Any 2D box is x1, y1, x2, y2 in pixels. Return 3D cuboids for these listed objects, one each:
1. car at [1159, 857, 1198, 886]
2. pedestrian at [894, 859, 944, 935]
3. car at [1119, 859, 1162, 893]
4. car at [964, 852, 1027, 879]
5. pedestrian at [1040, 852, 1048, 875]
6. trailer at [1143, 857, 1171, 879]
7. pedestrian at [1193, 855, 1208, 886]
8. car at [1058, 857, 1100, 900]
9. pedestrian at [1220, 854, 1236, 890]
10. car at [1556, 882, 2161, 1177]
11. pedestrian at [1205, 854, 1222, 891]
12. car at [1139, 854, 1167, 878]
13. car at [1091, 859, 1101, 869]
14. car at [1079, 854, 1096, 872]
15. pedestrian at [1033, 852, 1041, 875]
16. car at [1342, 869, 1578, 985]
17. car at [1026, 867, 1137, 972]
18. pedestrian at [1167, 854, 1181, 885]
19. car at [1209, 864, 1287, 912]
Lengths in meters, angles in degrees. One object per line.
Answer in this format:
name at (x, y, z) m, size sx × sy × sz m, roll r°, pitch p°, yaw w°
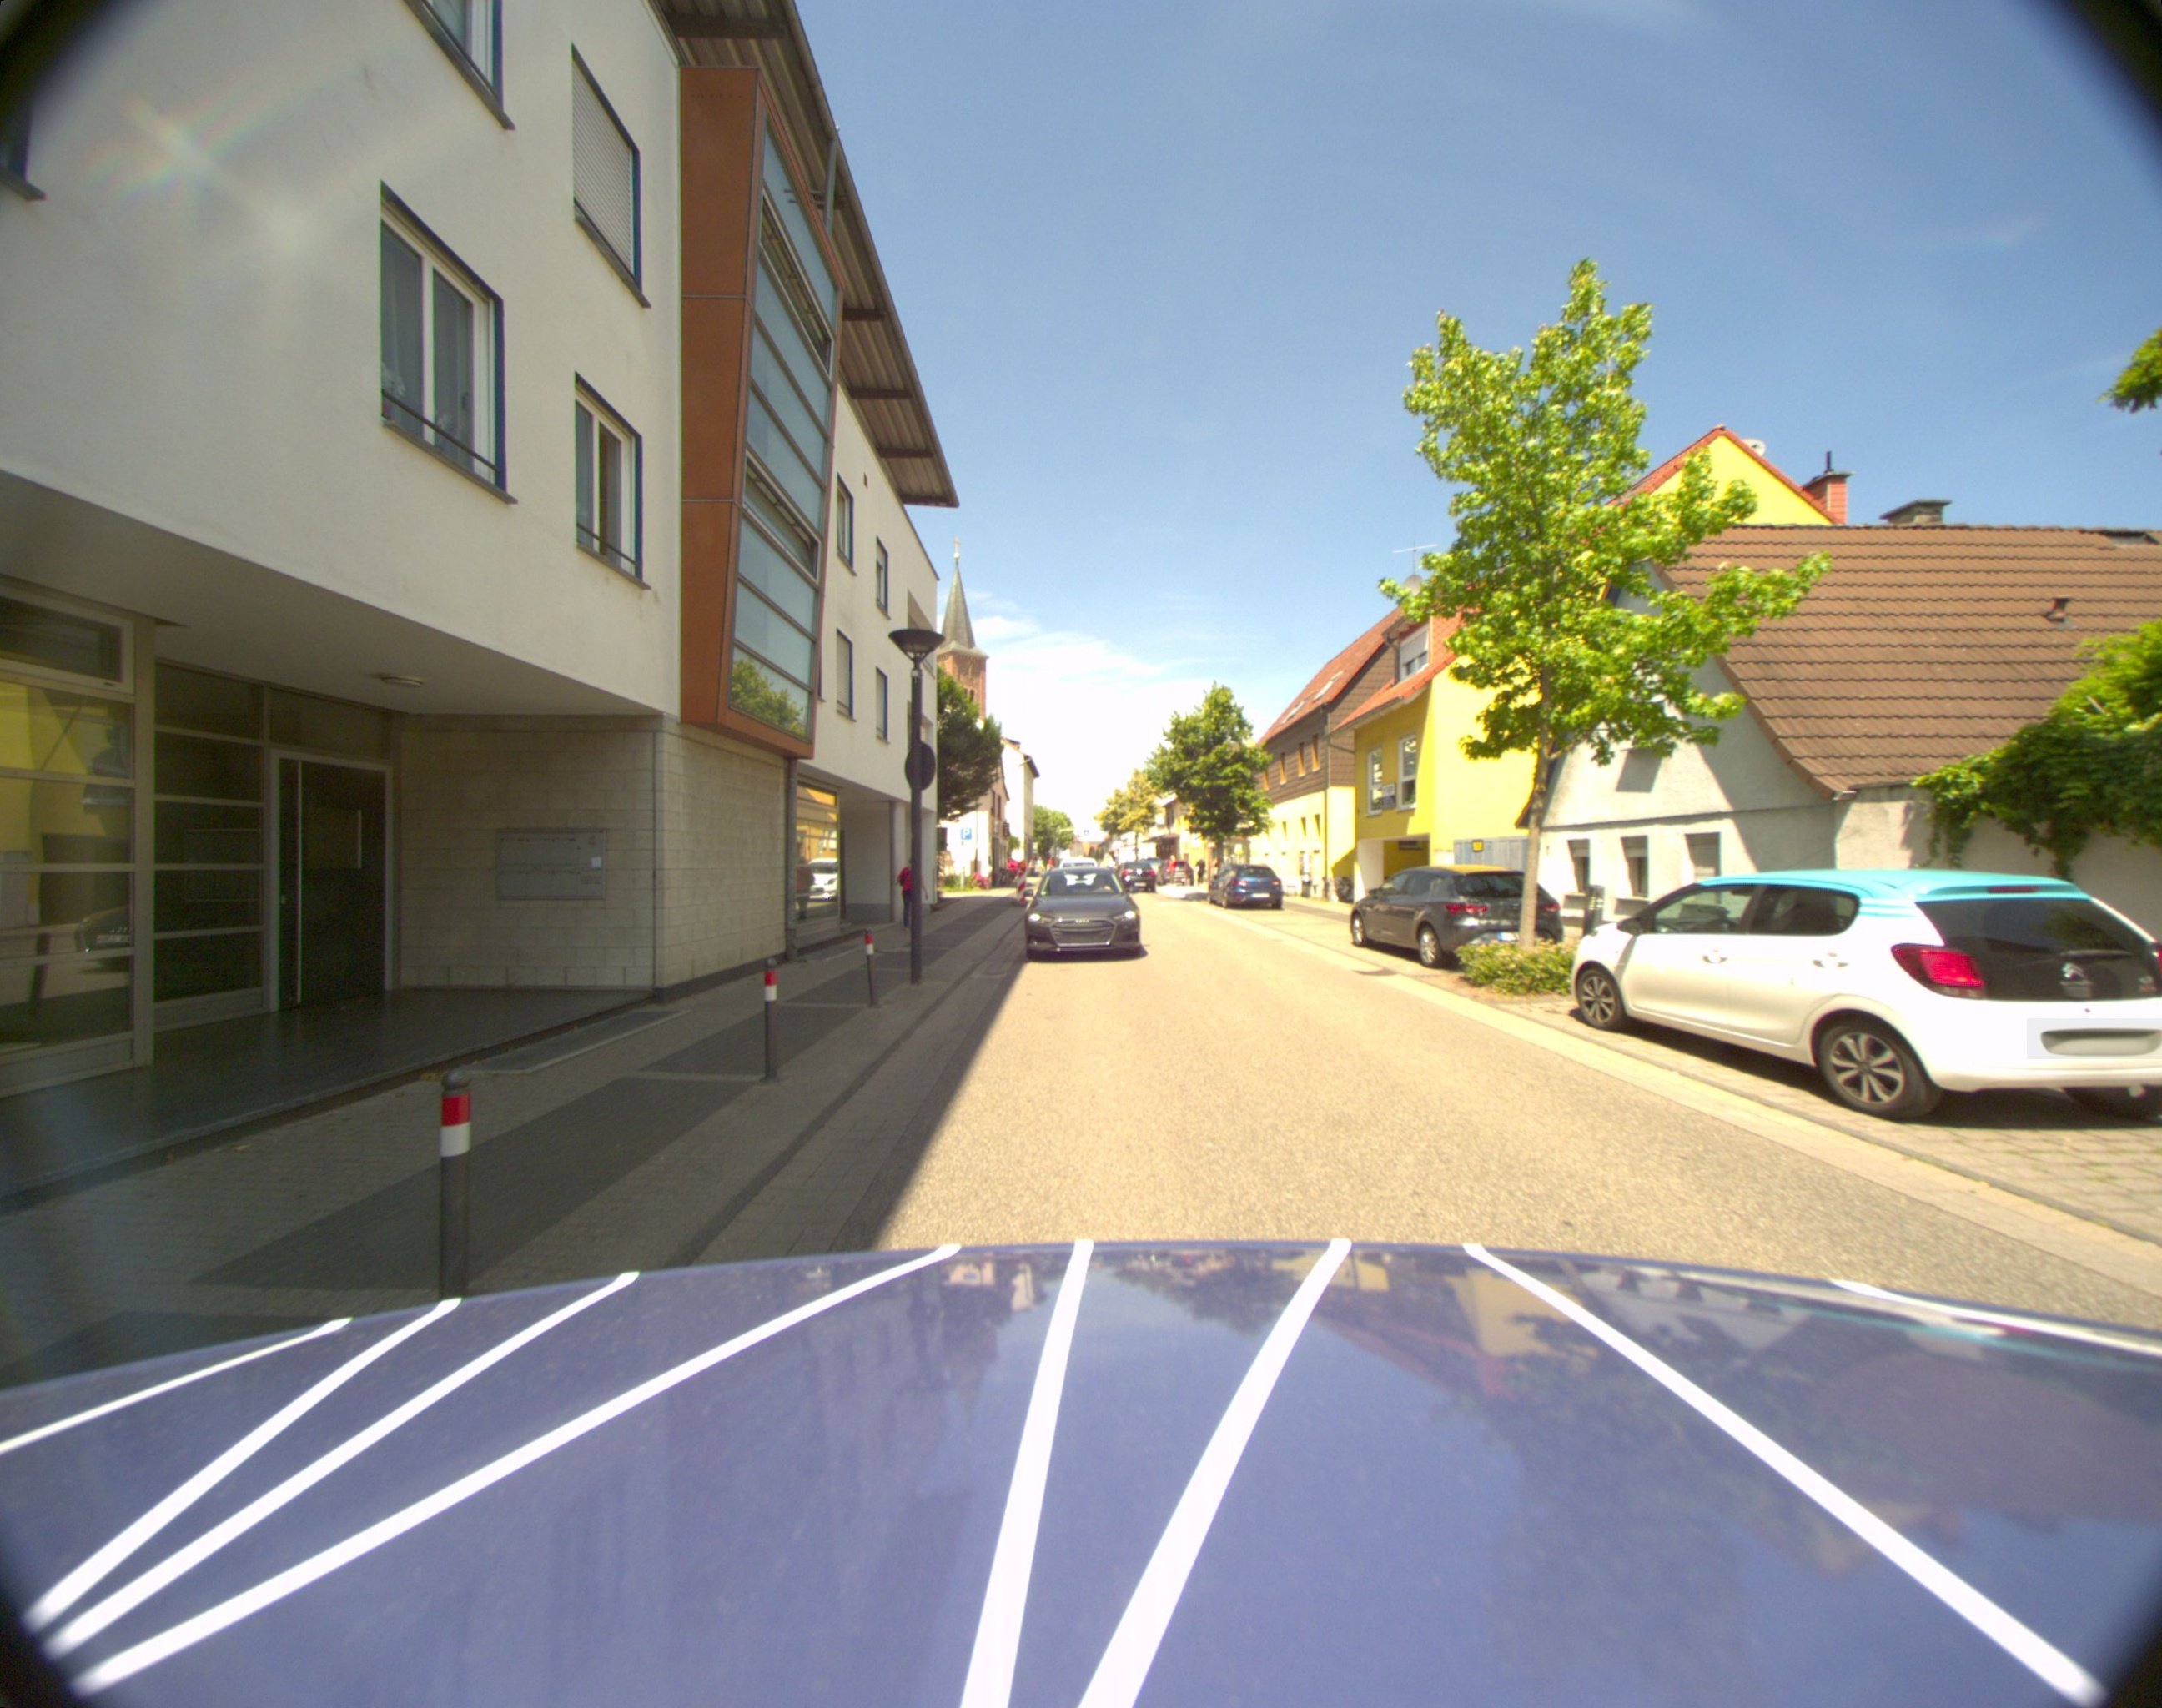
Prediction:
car at (5.629, 0.992, 44.236) m, size 1.753 × 1.566 × 4.158 m, roll -1°, pitch 0°, yaw 0°
pedestrian at (-3.551, 0.917, 16.710) m, size 0.826 × 1.579 × 0.919 m, roll 3°, pitch 0°, yaw 0°
car at (2.847, 1.023, 36.798) m, size 1.693 × 1.464 × 4.000 m, roll 2°, pitch 0°, yaw 0°
car at (-5.965, 0.800, 53.265) m, size 4.204 × 1.849 × 2.000 m, roll 1°, pitch 0°, yaw -1°
pedestrian at (-3.105, 0.787, 63.896) m, size 0.581 × 1.875 × 0.695 m, roll 1°, pitch 0°, yaw 2°
trailer at (5.612, 1.029, 56.689) m, size 1.493 × 1.571 × 3.883 m, roll -3°, pitch 0°, yaw -2°
pedestrian at (6.212, 0.843, 39.459) m, size 0.663 × 1.592 × 0.771 m, roll 0°, pitch 0°, yaw 0°
car at (-0.078, 0.935, 30.789) m, size 1.581 × 1.620 × 4.065 m, roll 0°, pitch 0°, yaw 0°
pedestrian at (6.478, 0.799, 33.499) m, size 0.631 × 1.592 × 0.528 m, roll 0°, pitch 0°, yaw 0°
car at (5.392, 0.979, 5.666) m, size 1.557 × 1.421 × 3.410 m, roll 0°, pitch 0°, yaw 0°
pedestrian at (5.732, 0.799, 32.856) m, size 0.631 × 1.592 × 0.528 m, roll 0°, pitch 0°, yaw 0°
car at (5.769, 0.947, 61.043) m, size 1.695 × 1.742 × 3.999 m, roll -3°, pitch 0°, yaw -2°
car at (2.794, 1.839, 142.327) m, size 1.695 × 1.761 × 3.999 m, roll -4°, pitch 0°, yaw -2°
car at (0.601, 0.853, 73.399) m, size 1.581 × 1.620 × 4.065 m, roll 0°, pitch 0°, yaw 0°
pedestrian at (-3.589, 0.775, 62.638) m, size 0.581 × 1.875 × 0.695 m, roll 1°, pitch 0°, yaw 2°
car at (5.623, 0.992, 11.917) m, size 1.649 × 1.421 × 4.098 m, roll 1°, pitch 0°, yaw 0°
car at (0.004, 1.002, 13.197) m, size 1.581 × 1.424 × 4.065 m, roll -2°, pitch 0°, yaw 0°
pedestrian at (4.963, 0.836, 40.441) m, size 0.643 × 1.645 × 0.624 m, roll 1°, pitch 0°, yaw 0°
car at (5.344, 1.039, 24.865) m, size 1.660 × 1.399 × 4.158 m, roll 0°, pitch 0°, yaw 0°
